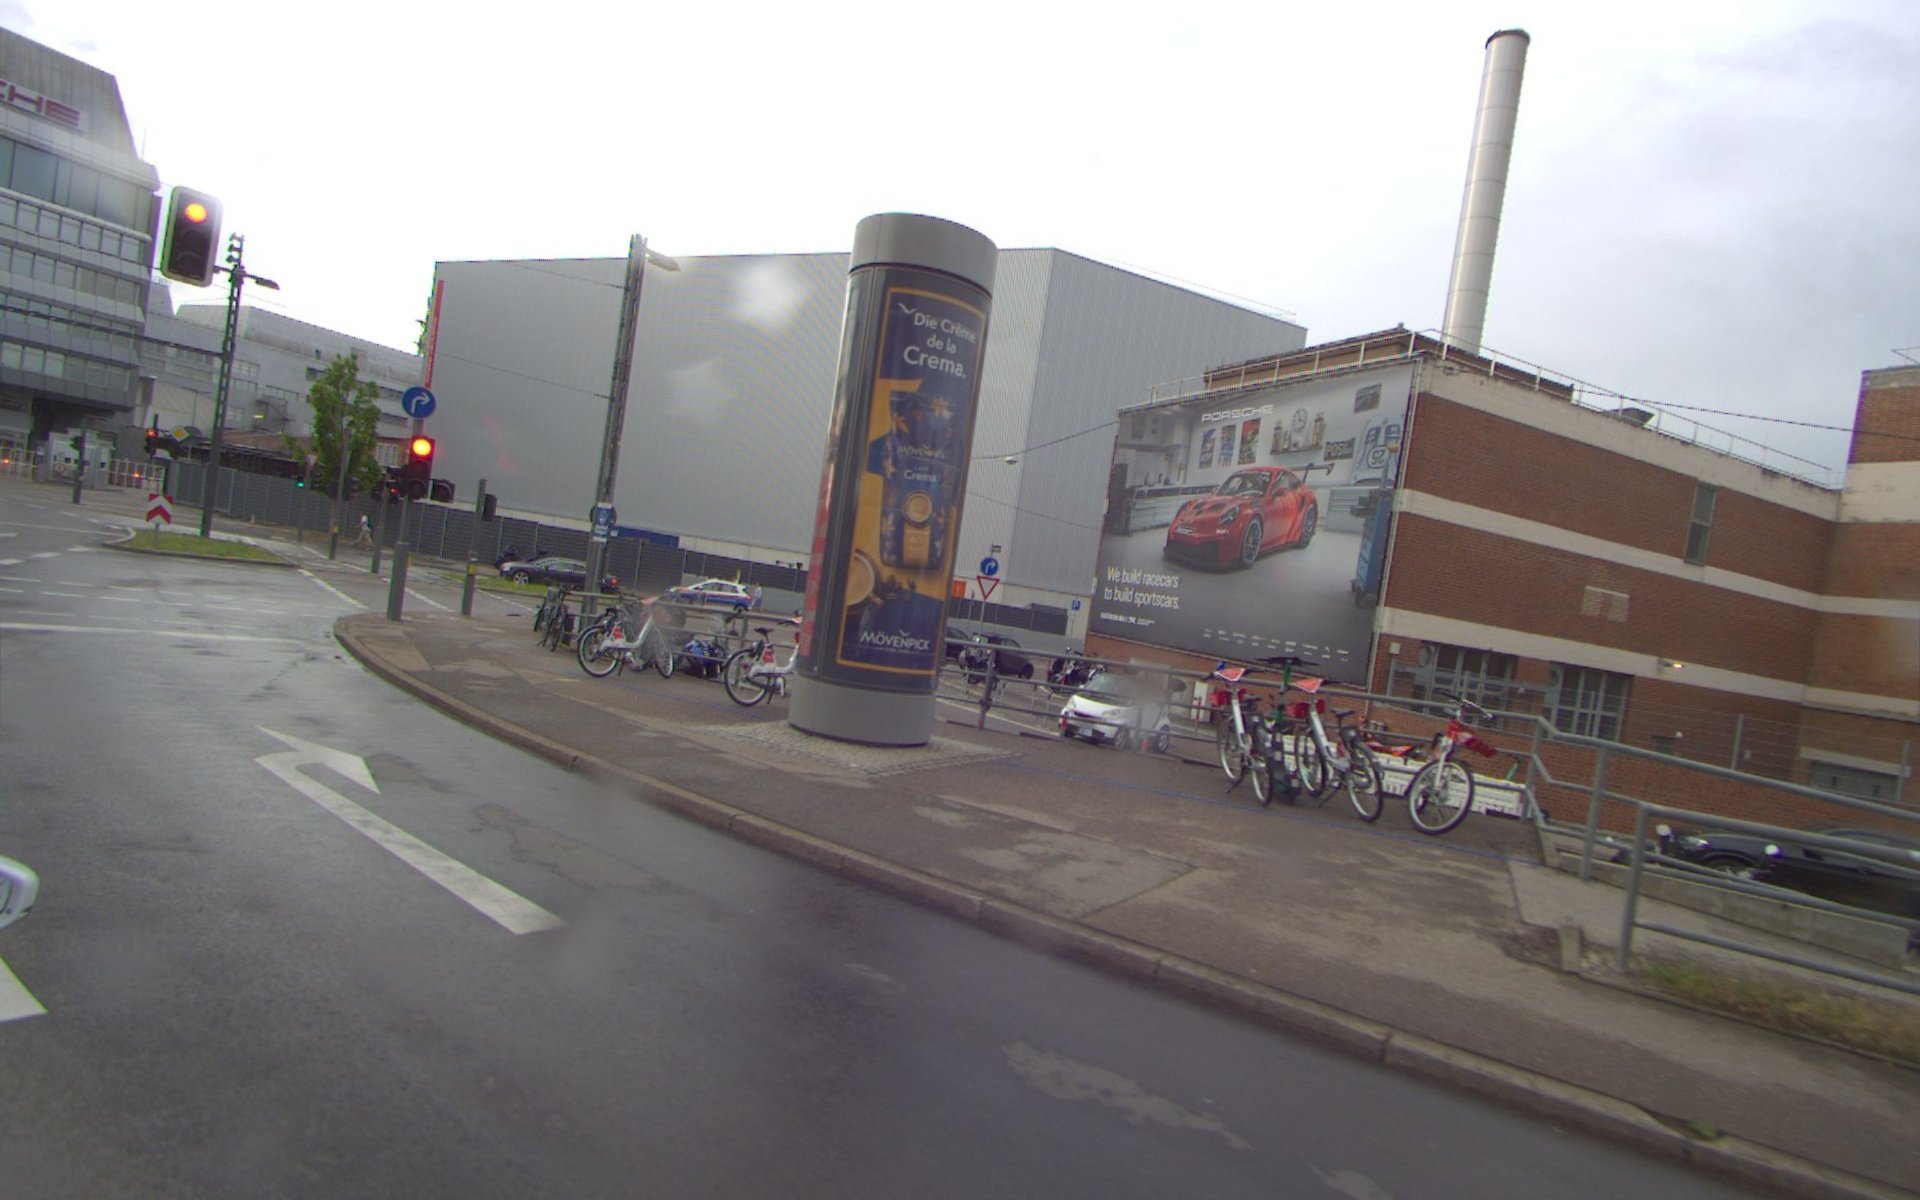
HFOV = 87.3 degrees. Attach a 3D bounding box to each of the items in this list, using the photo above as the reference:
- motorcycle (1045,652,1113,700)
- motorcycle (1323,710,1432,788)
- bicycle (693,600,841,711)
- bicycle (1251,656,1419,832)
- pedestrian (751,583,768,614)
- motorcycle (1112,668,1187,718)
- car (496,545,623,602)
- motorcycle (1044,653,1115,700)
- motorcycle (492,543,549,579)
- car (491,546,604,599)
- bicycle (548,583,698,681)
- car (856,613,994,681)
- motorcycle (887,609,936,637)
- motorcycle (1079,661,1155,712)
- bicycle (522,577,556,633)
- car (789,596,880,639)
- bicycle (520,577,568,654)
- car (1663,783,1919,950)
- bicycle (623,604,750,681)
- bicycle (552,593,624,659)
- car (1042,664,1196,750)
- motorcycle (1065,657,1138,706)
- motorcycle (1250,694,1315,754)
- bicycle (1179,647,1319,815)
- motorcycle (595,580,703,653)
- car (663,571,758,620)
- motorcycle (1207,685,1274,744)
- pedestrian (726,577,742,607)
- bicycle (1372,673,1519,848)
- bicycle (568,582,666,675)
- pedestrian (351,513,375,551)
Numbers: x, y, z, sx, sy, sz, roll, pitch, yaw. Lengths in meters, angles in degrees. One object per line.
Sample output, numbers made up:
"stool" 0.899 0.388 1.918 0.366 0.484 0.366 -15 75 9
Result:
"motorcycle" 3.789 2.410 32.151 1.985 1.206 0.609 7 3 4
"motorcycle" 9.365 3.321 22.643 0.920 1.327 1.966 5 4 -33
"bicycle" -2.264 0.669 12.032 0.582 1.176 1.802 7 0 31
"bicycle" 3.247 1.194 8.925 0.588 1.239 1.931 6 0 -2
"pedestrian" -10.387 -0.093 52.114 0.641 1.499 0.437 7 1 -17
"motorcycle" 5.289 2.606 28.056 2.000 1.206 0.604 6 4 -30
"car" -16.097 -1.073 40.663 4.523 1.558 1.749 9 0 -21
"motorcycle" 3.685 2.371 31.118 1.993 1.206 0.606 6 3 -18
"motorcycle" -21.167 -1.884 48.509 2.329 1.360 0.650 8 0 -22
"car" -17.716 -1.200 43.423 4.242 1.558 1.749 9 0 -20
"bicycle" -4.474 0.449 13.474 0.668 1.154 1.770 6 -1 35
"car" -1.087 1.510 32.410 4.087 1.547 1.838 8 -1 5
"motorcycle" -2.760 1.313 56.998 2.464 1.201 0.993 8 0 -26
"motorcycle" 4.510 2.485 28.872 1.994 1.206 0.606 6 3 -21
"bicycle" -9.136 0.085 21.856 0.380 1.111 1.744 6 0 -17
"car" -6.119 0.829 48.954 3.947 1.409 1.749 9 0 -20
"bicycle" -6.927 0.238 16.712 0.382 1.133 1.736 6 0 -31
"car" 13.579 4.164 15.434 4.189 1.628 1.703 10 0 28
"bicycle" -4.201 0.633 15.365 2.143 0.916 0.691 6 -1 40
"bicycle" -6.251 0.415 16.857 0.529 0.916 1.794 7 -1 -38
"car" 3.630 2.396 22.583 1.668 1.500 3.547 10 2 40
"motorcycle" 4.235 2.437 30.049 1.994 1.206 0.606 6 3 -21
"motorcycle" 7.907 3.001 24.619 1.859 1.327 0.566 4 4 -44
"bicycle" 2.576 1.119 9.196 0.588 1.239 1.932 6 0 0
"motorcycle" -7.395 0.406 23.982 2.219 1.470 0.748 8 0 -39
"car" -11.594 -0.223 46.695 3.928 1.620 1.902 9 -1 -20
"motorcycle" 7.181 2.889 25.677 0.678 1.327 2.011 10 4 41
"pedestrian" -11.712 -0.425 52.173 0.604 1.499 0.422 7 1 -14
"bicycle" 4.100 1.294 8.653 0.588 1.193 1.933 7 0 13
"bicycle" -5.075 0.393 14.803 1.974 1.176 0.384 6 0 43
"pedestrian" -27.697 -3.139 46.680 0.802 1.630 0.762 6 0 -33
